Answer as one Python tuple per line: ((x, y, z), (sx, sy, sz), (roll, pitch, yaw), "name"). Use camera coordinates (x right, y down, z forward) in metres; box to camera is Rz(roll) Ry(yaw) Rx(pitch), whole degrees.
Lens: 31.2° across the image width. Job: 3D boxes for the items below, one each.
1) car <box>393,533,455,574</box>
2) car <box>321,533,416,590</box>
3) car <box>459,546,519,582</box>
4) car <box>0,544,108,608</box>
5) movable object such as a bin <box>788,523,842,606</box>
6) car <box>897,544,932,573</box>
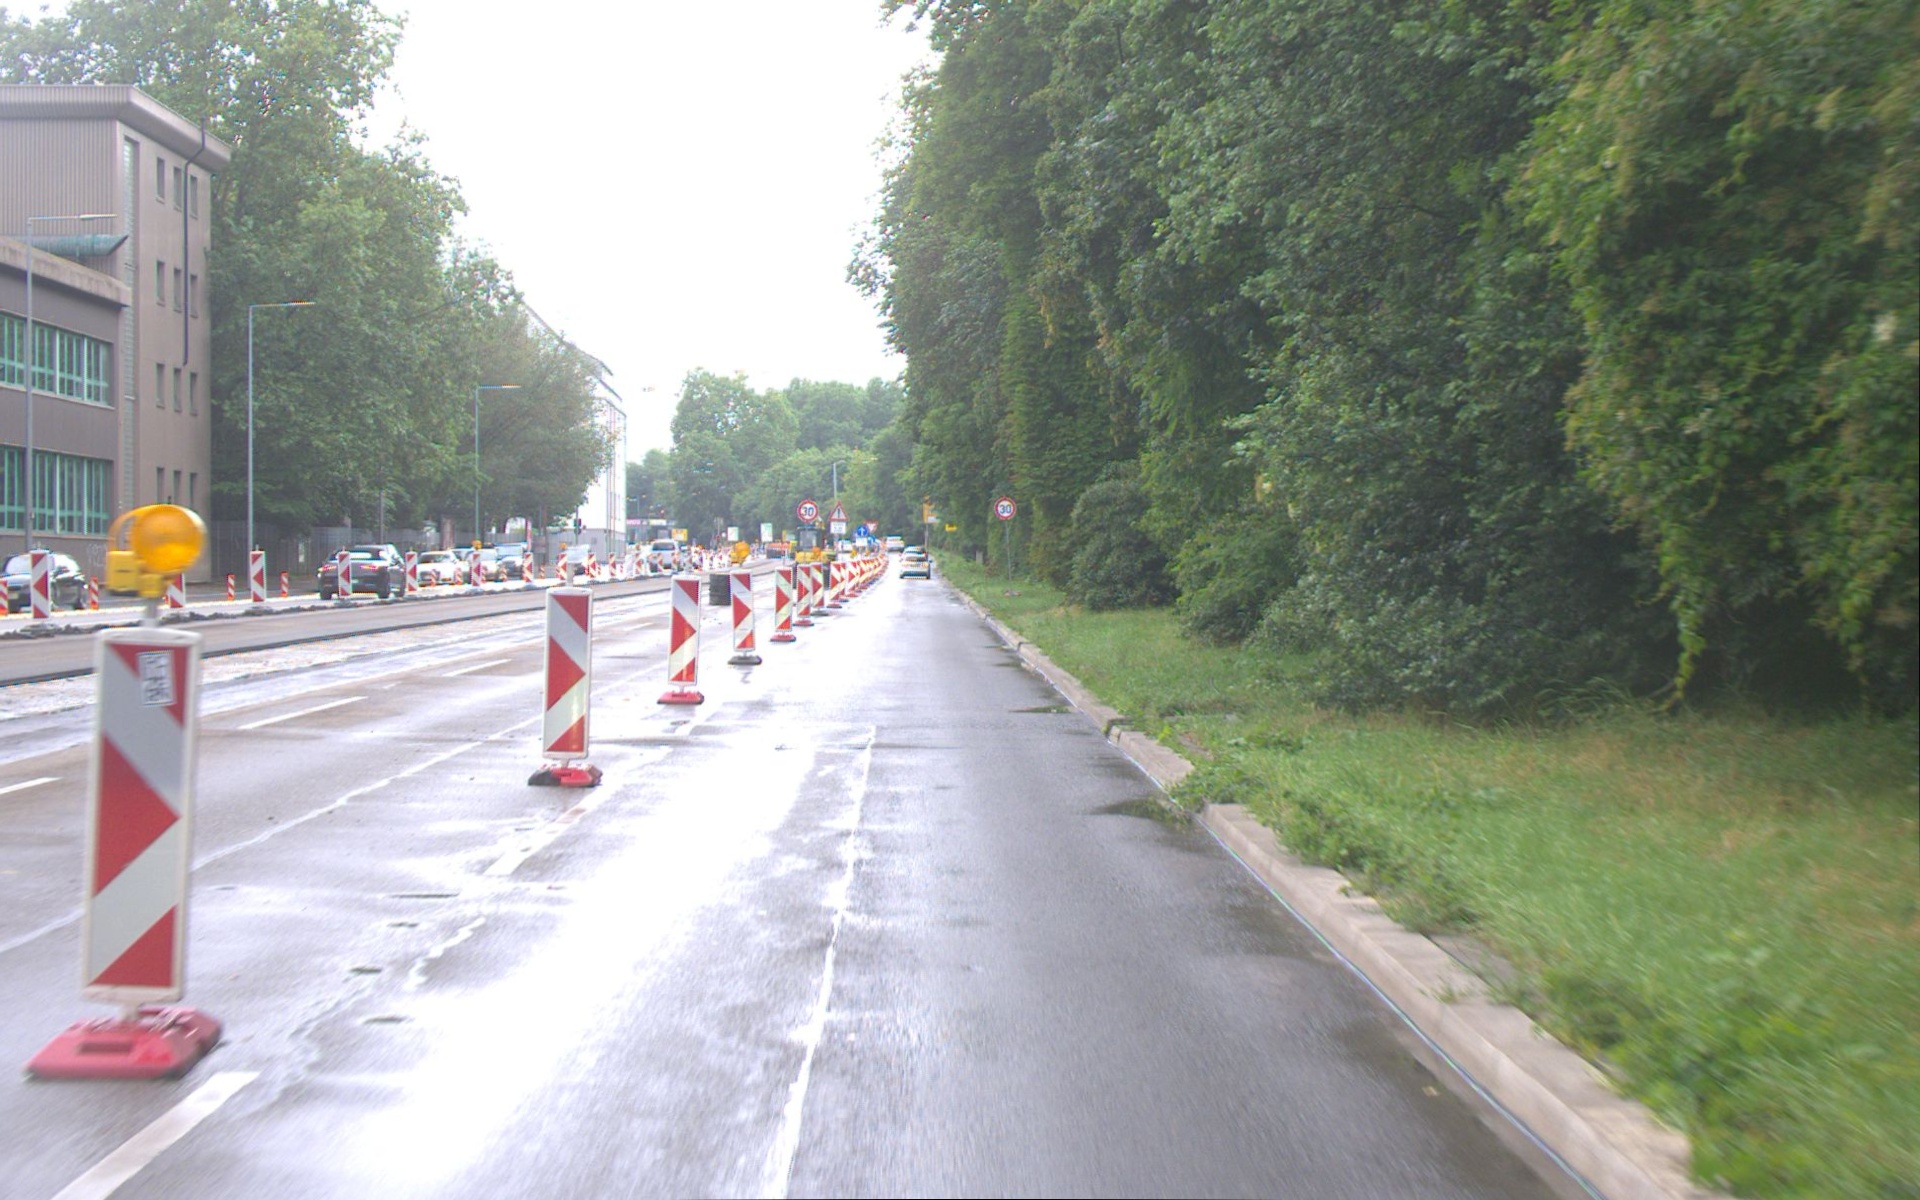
((-20.631, -1.779, 132.341), (1.803, 1.529, 3.992), (1, 0, -1), "car")
((-16.296, -1.051, 94.881), (1.993, 1.514, 4.000), (1, 0, -1), "car")
((-20.286, -1.529, 148.182), (1.894, 1.497, 4.516), (1, 0, 1), "car")
((-21.955, -0.582, 82.123), (2.046, 1.449, 4.765), (1, 0, -1), "car")
((-6.024, -1.472, 142.960), (1.993, 3.356, 5.982), (1, 0, -1), "movable object such as a bin")
((-2.674, -2.452, 202.243), (1.993, 1.667, 4.000), (1, 0, -1), "car")
